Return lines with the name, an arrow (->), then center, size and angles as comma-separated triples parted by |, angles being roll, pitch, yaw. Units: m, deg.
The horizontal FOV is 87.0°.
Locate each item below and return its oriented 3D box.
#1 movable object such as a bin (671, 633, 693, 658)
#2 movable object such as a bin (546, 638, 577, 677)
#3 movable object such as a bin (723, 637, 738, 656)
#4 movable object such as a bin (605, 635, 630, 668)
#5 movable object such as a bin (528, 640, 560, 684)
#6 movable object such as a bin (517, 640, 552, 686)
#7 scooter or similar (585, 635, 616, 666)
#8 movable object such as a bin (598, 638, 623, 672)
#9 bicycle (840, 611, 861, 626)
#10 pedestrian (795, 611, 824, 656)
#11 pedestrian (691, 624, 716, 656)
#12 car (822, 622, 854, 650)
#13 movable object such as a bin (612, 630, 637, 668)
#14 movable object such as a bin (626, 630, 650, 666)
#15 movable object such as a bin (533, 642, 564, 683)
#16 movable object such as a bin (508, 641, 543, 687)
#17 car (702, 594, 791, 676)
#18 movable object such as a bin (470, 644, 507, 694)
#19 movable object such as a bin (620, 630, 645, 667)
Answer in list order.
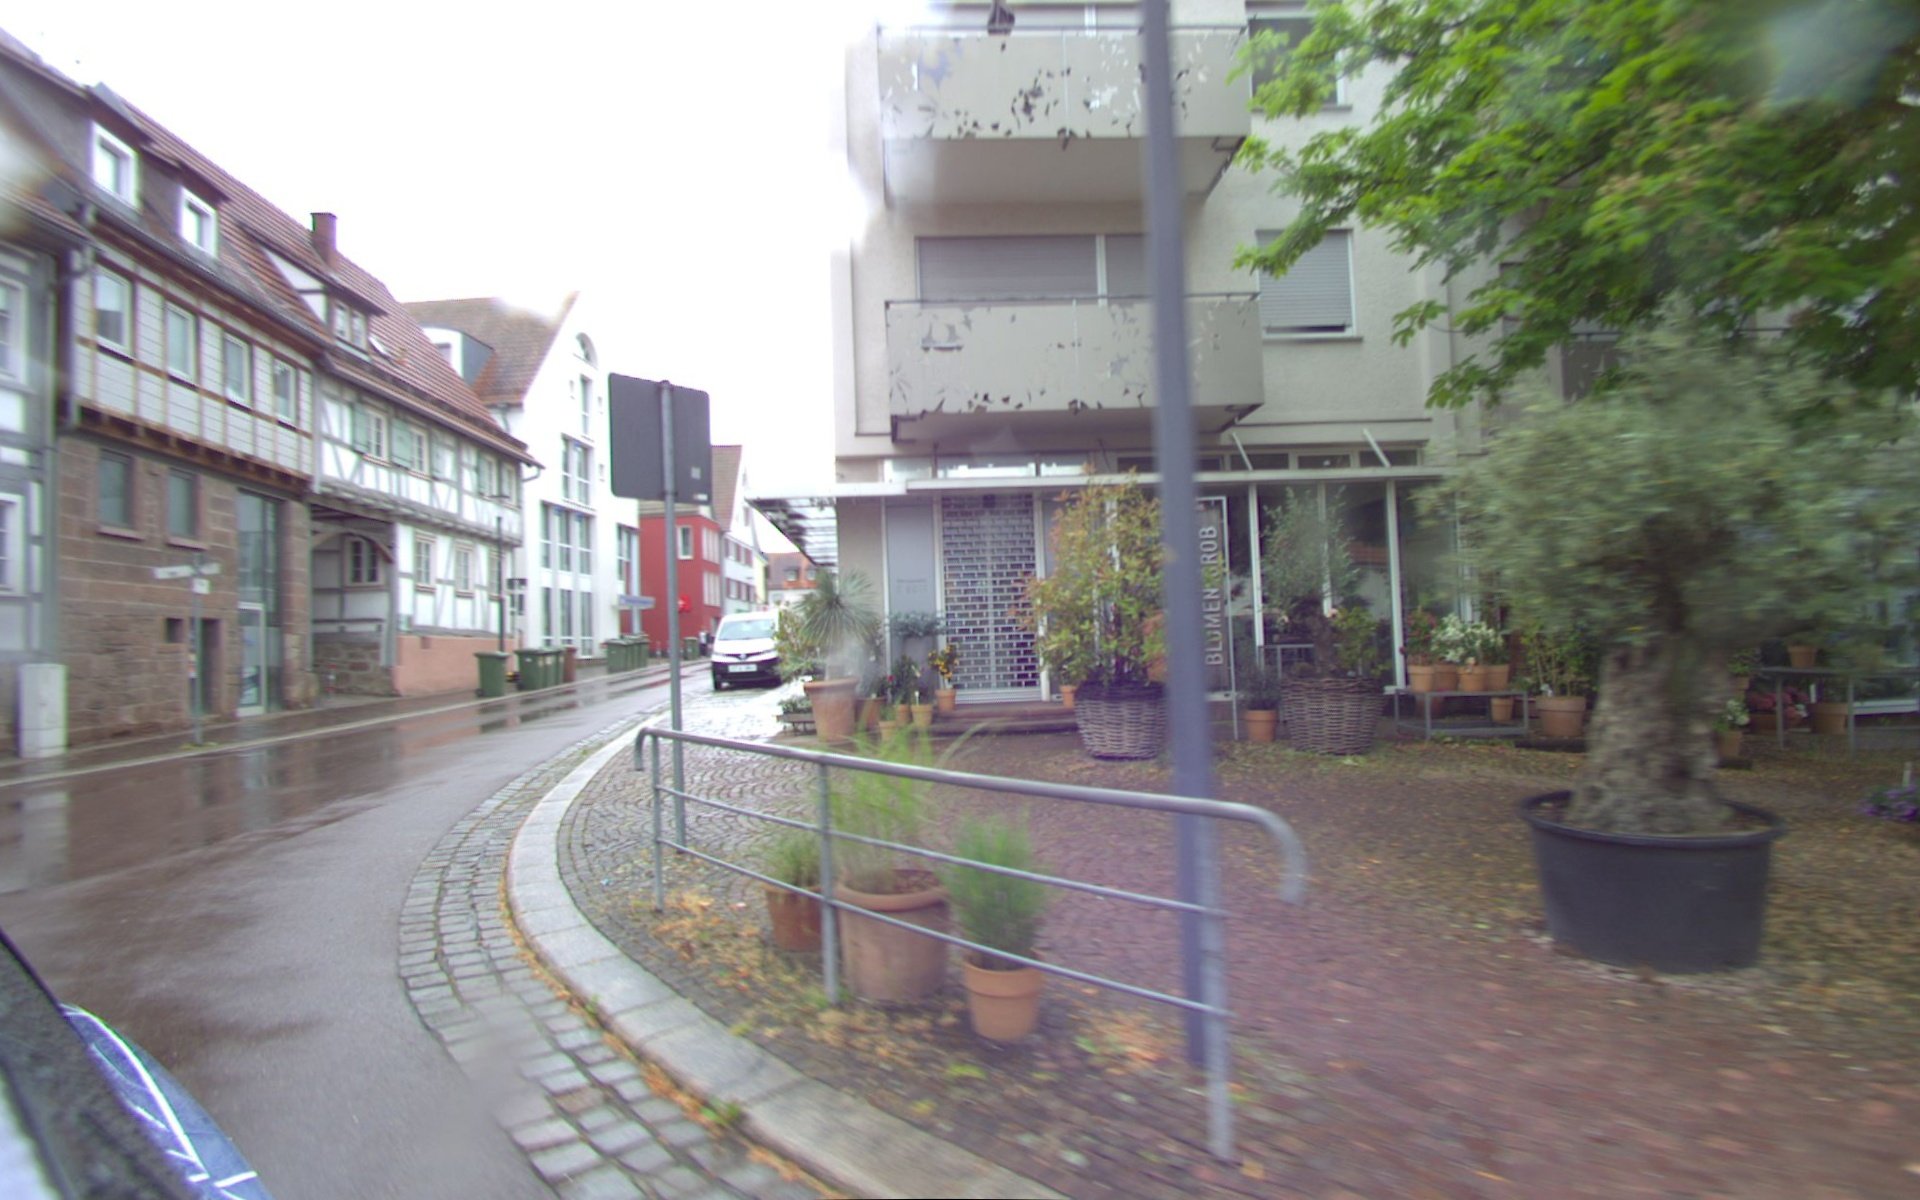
movable object such as a bin -> -12.961, 2.115, 47.187 | 0.794, 1.139, 0.863 | -3, -1, -5
movable object such as a bin -> -11.795, 1.689, 29.982 | 0.669, 1.105, 0.651 | -3, -1, -7
movable object such as a bin -> -13.726, 2.788, 60.603 | 0.721, 1.089, 0.647 | -3, -2, -2
movable object such as a bin -> -12.048, 1.806, 35.588 | 0.610, 1.140, 0.632 | -3, -1, 2
movable object such as a bin -> -11.515, 1.715, 28.001 | 0.630, 1.156, 0.633 | -3, -1, -6
movable object such as a bin -> -11.485, 1.694, 27.326 | 0.631, 1.156, 0.603 | -3, -1, 2
scooter or similar -> -14.800, 2.070, 41.708 | 0.658, 1.154, 1.444 | -3, -1, 3
movable object such as a bin -> -12.041, 1.890, 34.862 | 0.609, 1.140, 0.632 | -3, -1, 0
bicycle -> -9.159, 1.553, 84.658 | 1.721, 1.173, 0.446 | -2, -1, -23
pedestrian -> -6.278, 1.411, 42.375 | 1.023, 1.820, 1.117 | -3, -2, -3
pedestrian -> -14.173, 2.217, 55.914 | 1.163, 1.710, 1.179 | -1, -3, -6
car -> -7.691, 2.251, 64.041 | 1.770, 1.562, 4.004 | -3, -1, -4
movable object such as a bin -> -12.019, 1.753, 36.270 | 0.631, 1.300, 0.632 | -3, -1, 2
movable object such as a bin -> -12.150, 1.797, 38.166 | 0.631, 1.300, 0.632 | -3, -1, 2
movable object such as a bin -> -11.648, 1.763, 28.672 | 0.661, 1.089, 0.588 | -1, 0, -5
movable object such as a bin -> -11.456, 1.683, 26.691 | 0.631, 1.156, 0.579 | -3, -1, 2
car -> -5.379, 0.856, 25.960 | 1.702, 1.839, 4.434 | -3, -1, -6
movable object such as a bin -> -11.342, 1.658, 24.356 | 0.602, 1.136, 0.600 | -3, -1, -3
movable object such as a bin -> -11.995, 1.783, 37.086 | 0.631, 1.300, 0.632 | -3, -1, 2
